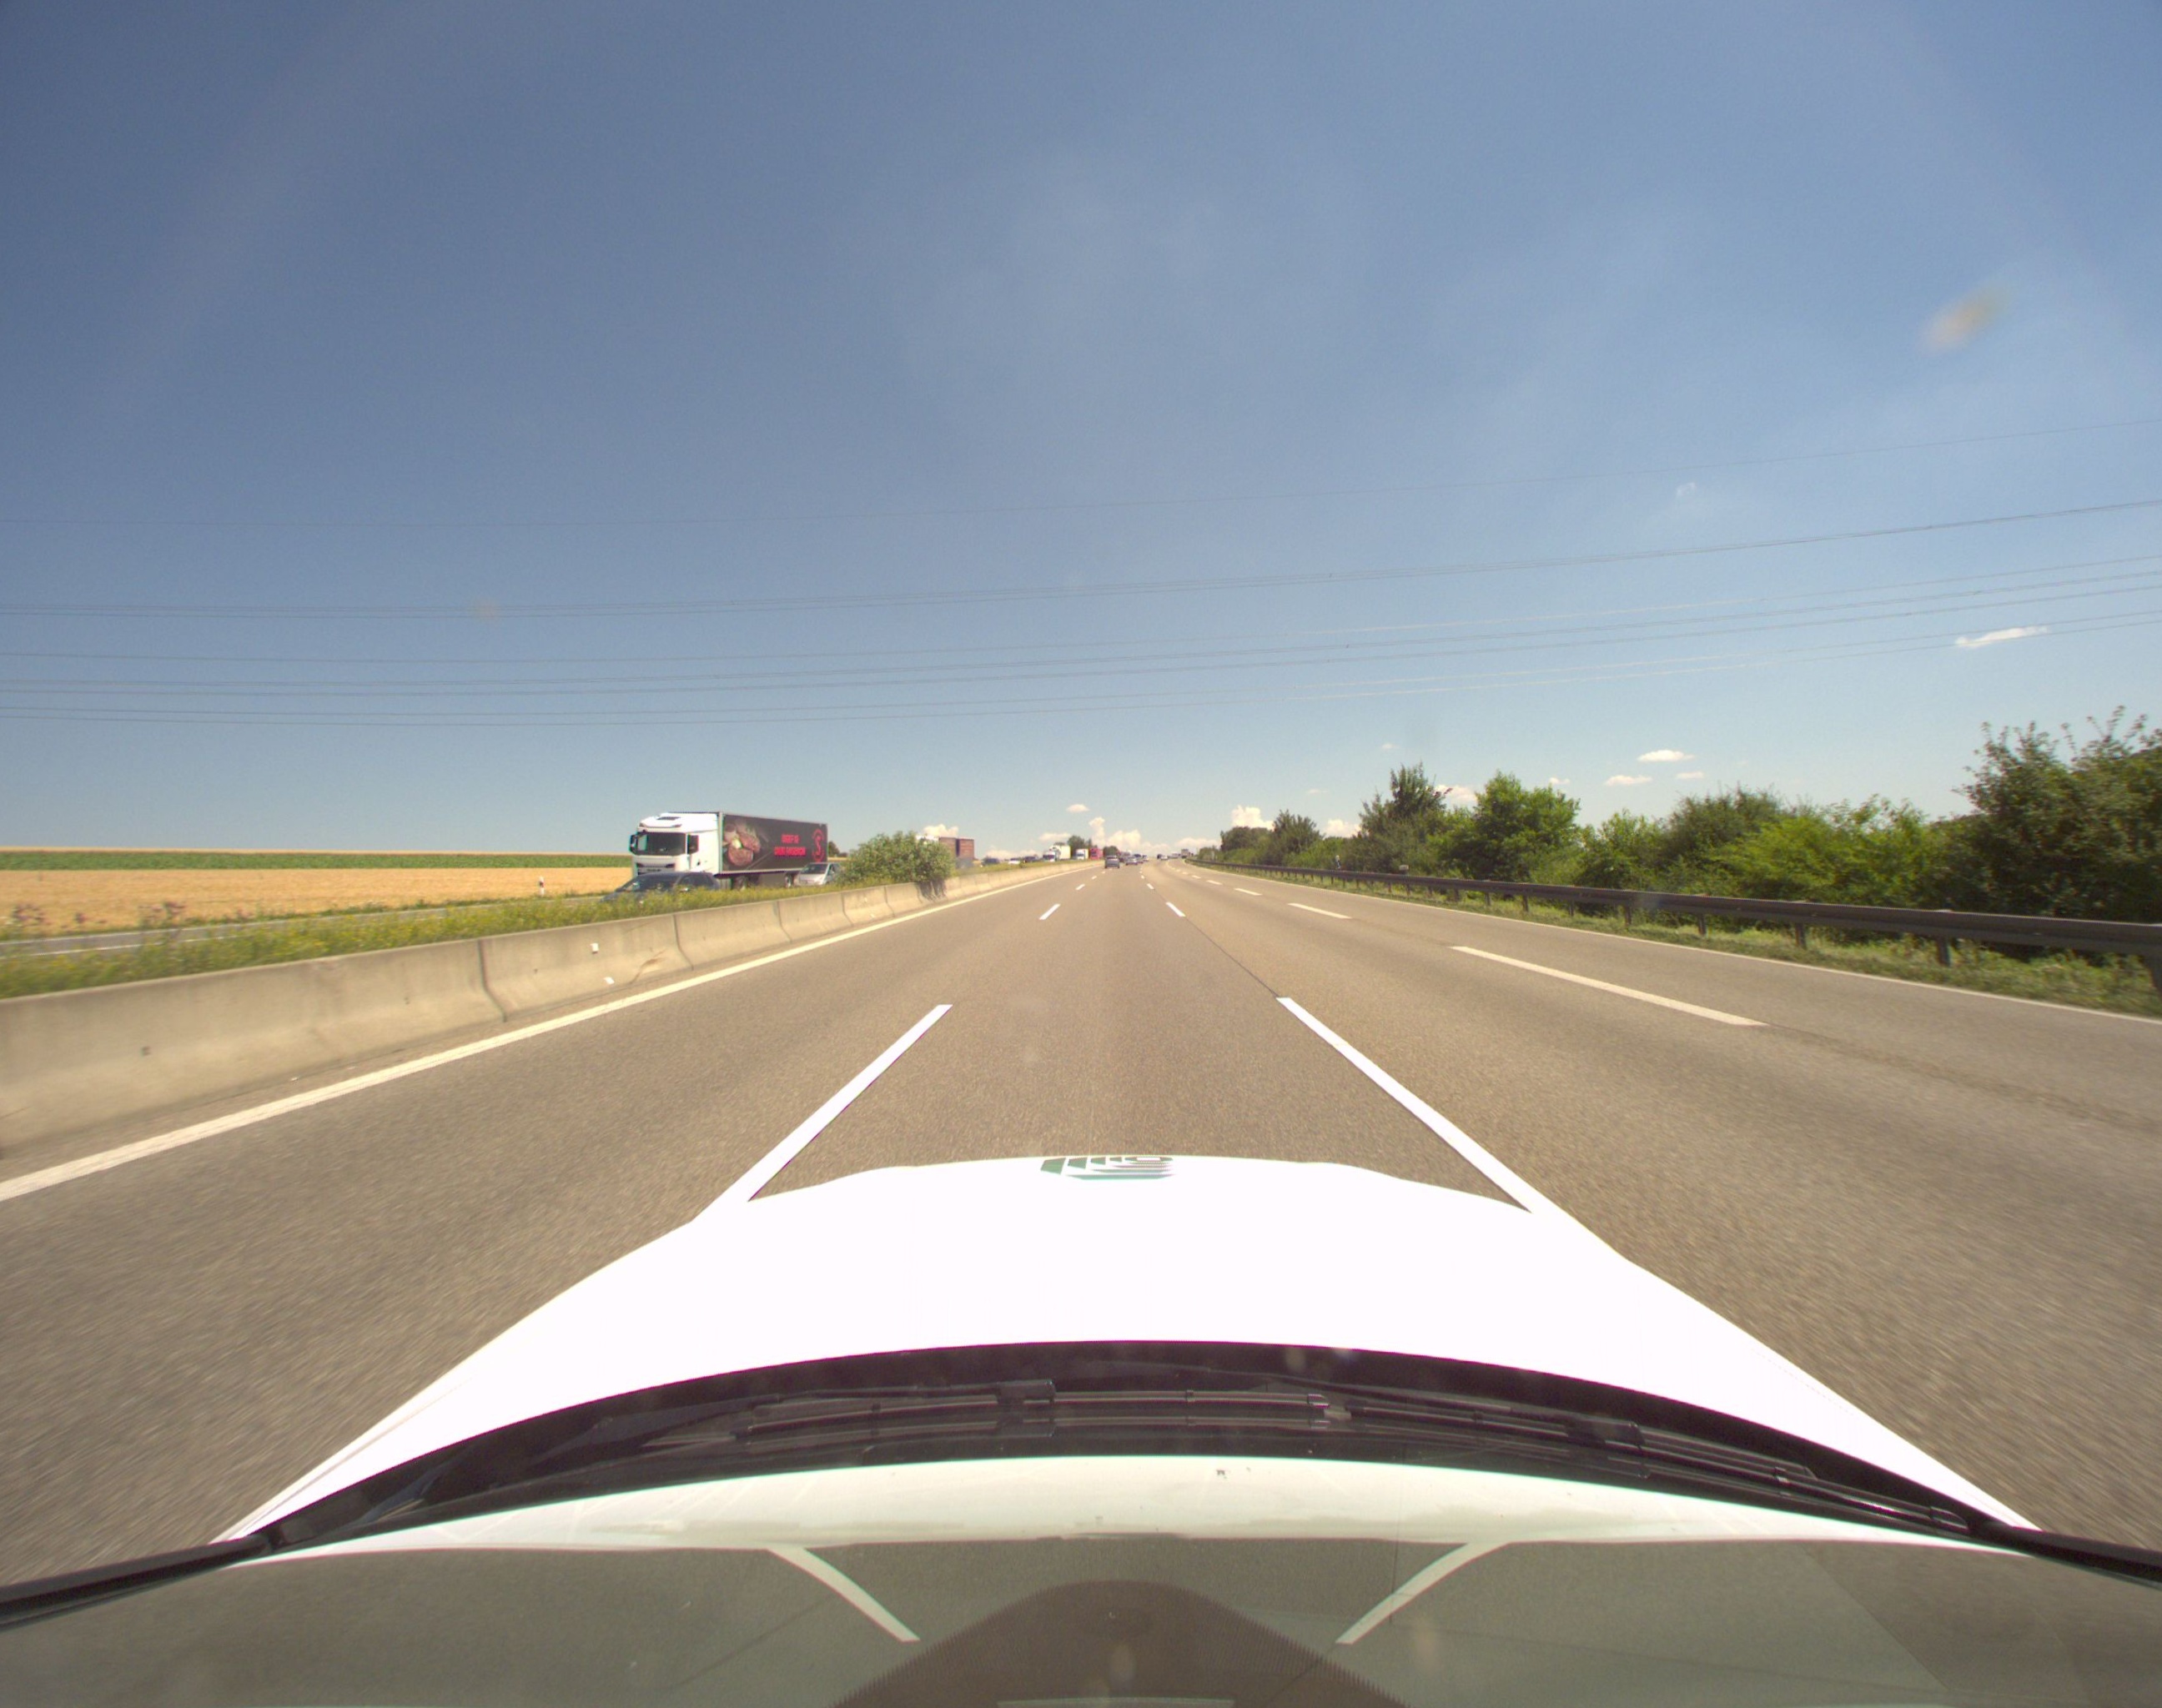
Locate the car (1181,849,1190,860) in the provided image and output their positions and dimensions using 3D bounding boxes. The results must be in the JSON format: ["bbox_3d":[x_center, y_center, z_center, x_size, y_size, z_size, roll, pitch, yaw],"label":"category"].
[{"bbox_3d":[24.417,0.121,191.224,1.983,2.301,6.274,-1,0,6],"label":"car"}]

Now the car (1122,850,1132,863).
[{"bbox_3d":[10.283,0.650,181.684,2.170,2.625,4.677,-1,-3,5],"label":"car"}]

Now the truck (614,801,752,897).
[{"bbox_3d":[-18.093,-0.177,37.584,2.840,4.027,6.521,-1,0,4],"label":"truck"}]

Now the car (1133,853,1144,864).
[{"bbox_3d":[10.770,0.920,153.030,1.983,1.904,4.006,-1,-3,6],"label":"car"}]

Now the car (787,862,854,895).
[{"bbox_3d":[-13.293,1.204,41.821,1.986,1.578,4.002,-1,0,2],"label":"car"}]

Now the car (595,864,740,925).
[{"bbox_3d":[-11.144,1.032,22.278,1.779,1.468,4.002,-1,-1,2],"label":"car"}]

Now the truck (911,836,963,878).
[{"bbox_3d":[-15.122,0.308,86.409,2.874,4.171,10.634,-1,0,4],"label":"truck"}]

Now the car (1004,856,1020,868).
[{"bbox_3d":[-11.173,1.334,132.173,1.985,1.849,4.003,-1,-1,3],"label":"car"}]

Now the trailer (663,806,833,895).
[{"bbox_3d":[-17.590,-0.145,44.807,2.781,4.105,14.020,-1,0,4],"label":"trailer"}]

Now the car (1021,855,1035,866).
[{"bbox_3d":[-8.035,0.980,123.518,1.730,1.670,4.003,-1,0,3],"label":"car"}]

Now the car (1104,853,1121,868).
[{"bbox_3d":[3.970,0.810,101.756,1.985,1.750,4.001,-1,-3,2],"label":"car"}]

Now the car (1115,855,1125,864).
[{"bbox_3d":[7.940,1.072,166.495,1.838,1.861,4.212,-1,1,5],"label":"car"}]

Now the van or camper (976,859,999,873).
[{"bbox_3d":[-10.637,1.341,92.911,1.985,1.453,4.003,-1,0,3],"label":"van or camper"}]

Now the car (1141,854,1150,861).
[{"bbox_3d":[15.138,0.893,190.237,1.983,1.552,4.007,1,0,6],"label":"car"}]

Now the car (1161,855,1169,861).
[{"bbox_3d":[22.189,0.981,215.197,1.892,1.442,4.008,-1,0,7],"label":"car"}]

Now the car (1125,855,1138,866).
[{"bbox_3d":[8.070,1.014,129.217,1.985,1.585,4.003,-2,-2,3],"label":"car"}]
